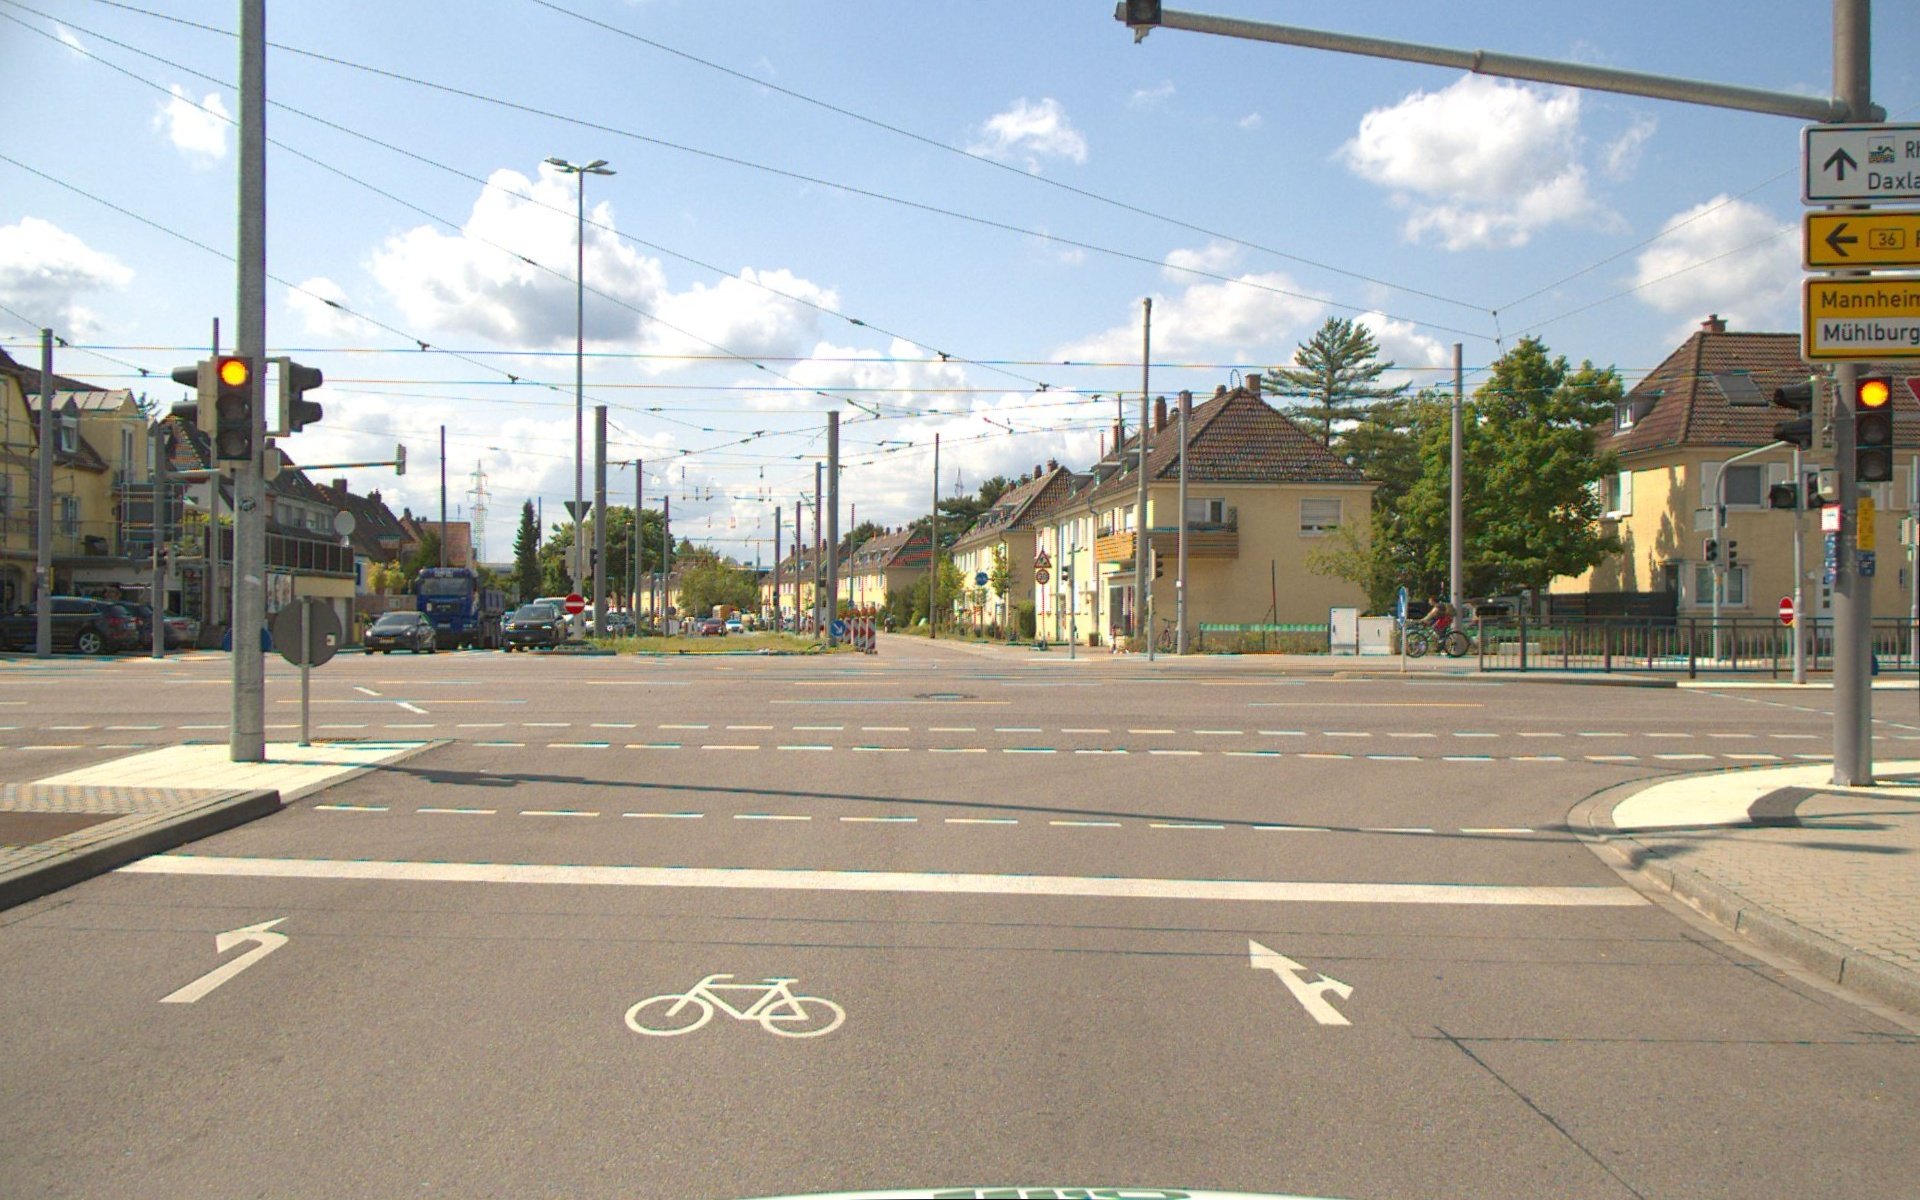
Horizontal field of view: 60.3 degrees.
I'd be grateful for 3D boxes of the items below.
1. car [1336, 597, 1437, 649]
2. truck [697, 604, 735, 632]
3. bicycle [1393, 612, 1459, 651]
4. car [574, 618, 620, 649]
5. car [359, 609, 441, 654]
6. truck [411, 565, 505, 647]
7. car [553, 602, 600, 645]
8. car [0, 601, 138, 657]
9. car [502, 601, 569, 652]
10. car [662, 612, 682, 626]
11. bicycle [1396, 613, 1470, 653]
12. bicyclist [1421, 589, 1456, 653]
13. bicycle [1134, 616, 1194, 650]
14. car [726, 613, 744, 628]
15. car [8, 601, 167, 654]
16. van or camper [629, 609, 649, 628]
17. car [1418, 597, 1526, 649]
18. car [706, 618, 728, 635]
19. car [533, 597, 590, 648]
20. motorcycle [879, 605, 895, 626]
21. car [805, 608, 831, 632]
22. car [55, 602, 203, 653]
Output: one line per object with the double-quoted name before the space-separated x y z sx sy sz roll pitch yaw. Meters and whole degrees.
"car" 14.289 0.796 55.589 1.789 1.649 3.990 0 -2 -10
"truck" -32.062 2.351 216.986 2.606 3.555 9.366 0 -1 -24
"bicycle" 13.721 0.918 48.721 1.773 1.124 0.699 0 -1 39
"car" -17.636 1.610 80.483 1.879 1.444 3.992 0 -1 -9
"car" -19.500 1.088 57.748 1.792 1.513 4.328 0 -1 -6
"truck" -20.934 0.304 69.334 2.717 3.244 7.567 0 -1 -9
"car" -17.029 1.037 73.553 1.700 1.813 4.396 0 -1 -9
"car" -26.823 0.857 49.181 4.058 1.519 1.177 2 -1 -9
"car" -15.179 0.900 59.296 1.752 1.751 4.434 0 0 -7
"car" -40.026 2.614 230.091 1.966 1.944 3.973 0 0 -22
"bicycle" 13.558 0.953 47.387 1.985 1.121 0.715 0 -1 21
"bicyclist" 13.773 0.605 47.596 0.937 1.806 0.720 -1 -1 20
"bicycle" 6.849 1.100 55.621 0.589 1.116 2.246 1 -1 -37
"car" -23.502 2.155 172.697 1.808 1.589 4.180 0 -1 -7
"car" -27.304 0.856 51.850 4.058 1.519 1.504 2 -1 -9
"van or camper" -50.118 2.875 258.353 2.647 2.749 6.492 0 0 -15
"car" 17.051 0.796 55.268 1.789 1.649 3.990 0 -2 -10
"car" -21.298 2.306 144.859 1.808 1.520 4.848 0 -1 -7
"car" -15.799 0.899 65.702 1.780 1.955 4.738 0 -1 -9
"motorcycle" -5.839 1.230 131.894 1.046 1.664 2.079 0 -1 -9
"car" -13.475 1.880 157.024 2.028 2.187 4.866 0 -1 -10
"car" -27.377 0.903 54.560 4.058 1.519 1.432 2 -1 -9
